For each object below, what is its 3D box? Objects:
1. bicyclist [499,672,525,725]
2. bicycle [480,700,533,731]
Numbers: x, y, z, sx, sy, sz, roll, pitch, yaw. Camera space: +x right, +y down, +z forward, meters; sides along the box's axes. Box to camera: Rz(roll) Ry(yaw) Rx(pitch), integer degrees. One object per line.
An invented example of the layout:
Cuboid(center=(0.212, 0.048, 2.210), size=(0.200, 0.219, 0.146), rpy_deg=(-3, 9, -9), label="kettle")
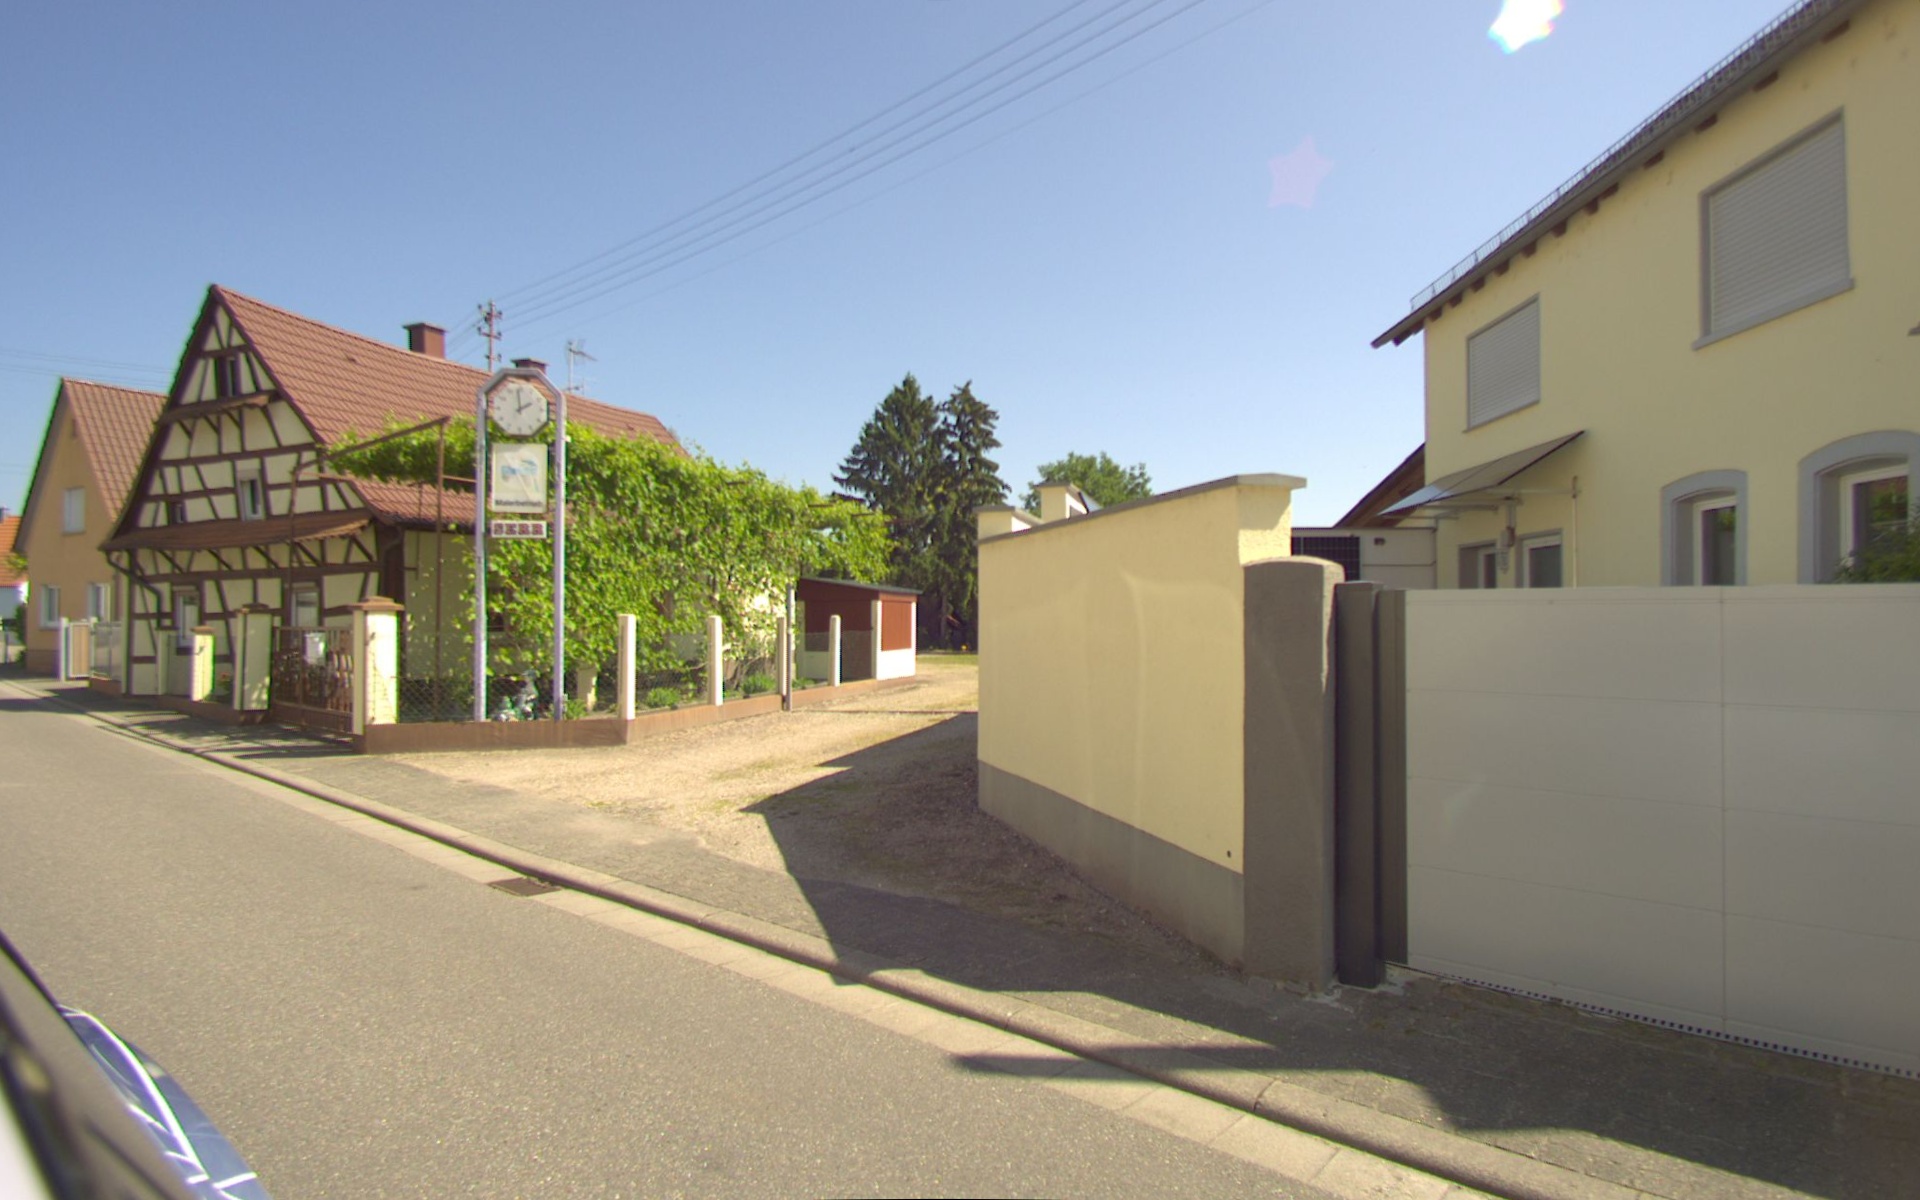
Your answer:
Cuboid(center=(-5.200, 1.140, 11.744), size=(0.243, 0.586, 0.219), rpy_deg=(0, -1, -34), label="bicyclist")
Cuboid(center=(-5.250, 1.332, 11.711), size=(0.526, 0.307, 0.220), rpy_deg=(0, -1, -34), label="bicycle")
